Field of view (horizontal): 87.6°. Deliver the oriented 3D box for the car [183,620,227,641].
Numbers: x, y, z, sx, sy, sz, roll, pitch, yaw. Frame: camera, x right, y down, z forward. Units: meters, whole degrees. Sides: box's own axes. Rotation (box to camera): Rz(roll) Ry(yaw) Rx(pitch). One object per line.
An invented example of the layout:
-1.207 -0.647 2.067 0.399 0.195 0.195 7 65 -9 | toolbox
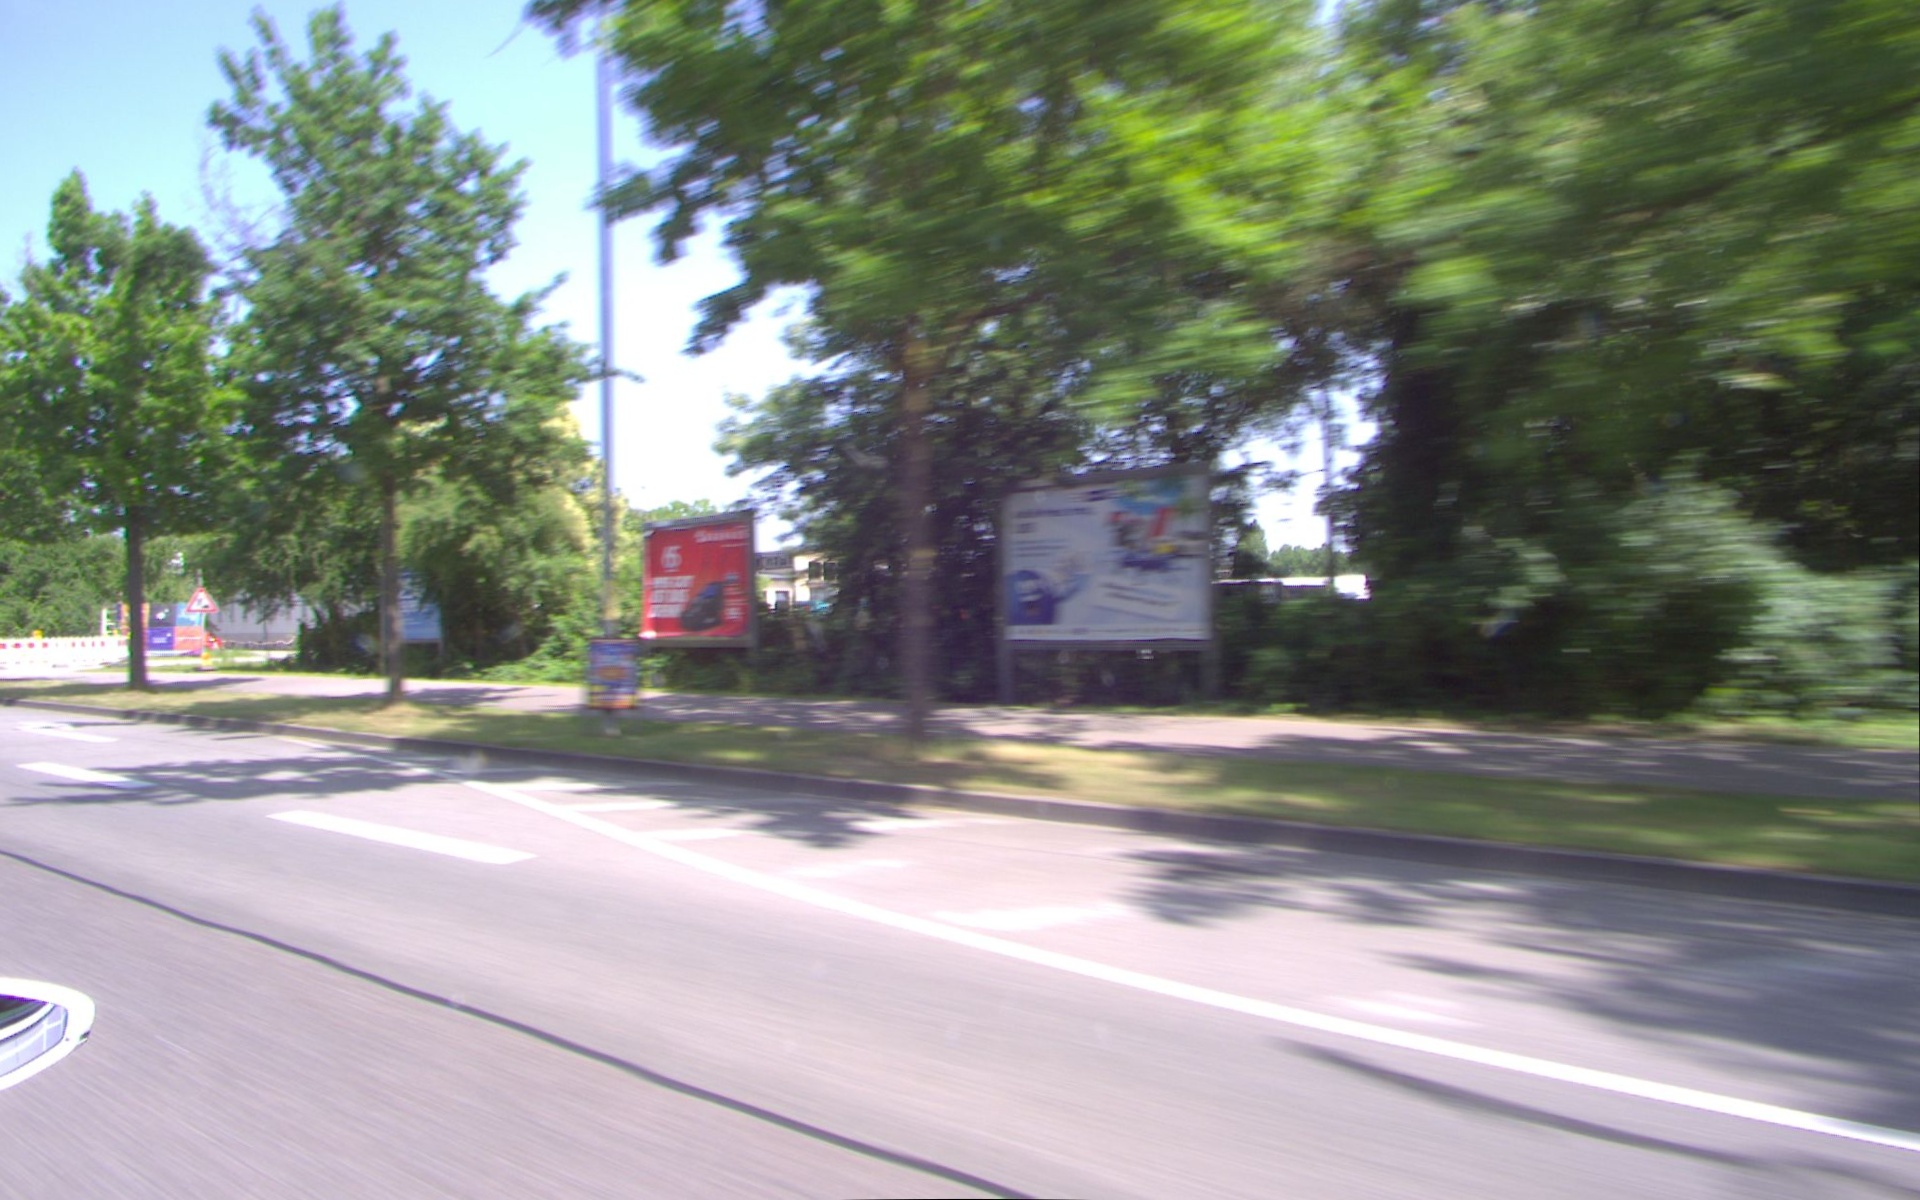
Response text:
-45.319 1.830 60.097 3.262 1.203 1.374 -1 0 39 | car
